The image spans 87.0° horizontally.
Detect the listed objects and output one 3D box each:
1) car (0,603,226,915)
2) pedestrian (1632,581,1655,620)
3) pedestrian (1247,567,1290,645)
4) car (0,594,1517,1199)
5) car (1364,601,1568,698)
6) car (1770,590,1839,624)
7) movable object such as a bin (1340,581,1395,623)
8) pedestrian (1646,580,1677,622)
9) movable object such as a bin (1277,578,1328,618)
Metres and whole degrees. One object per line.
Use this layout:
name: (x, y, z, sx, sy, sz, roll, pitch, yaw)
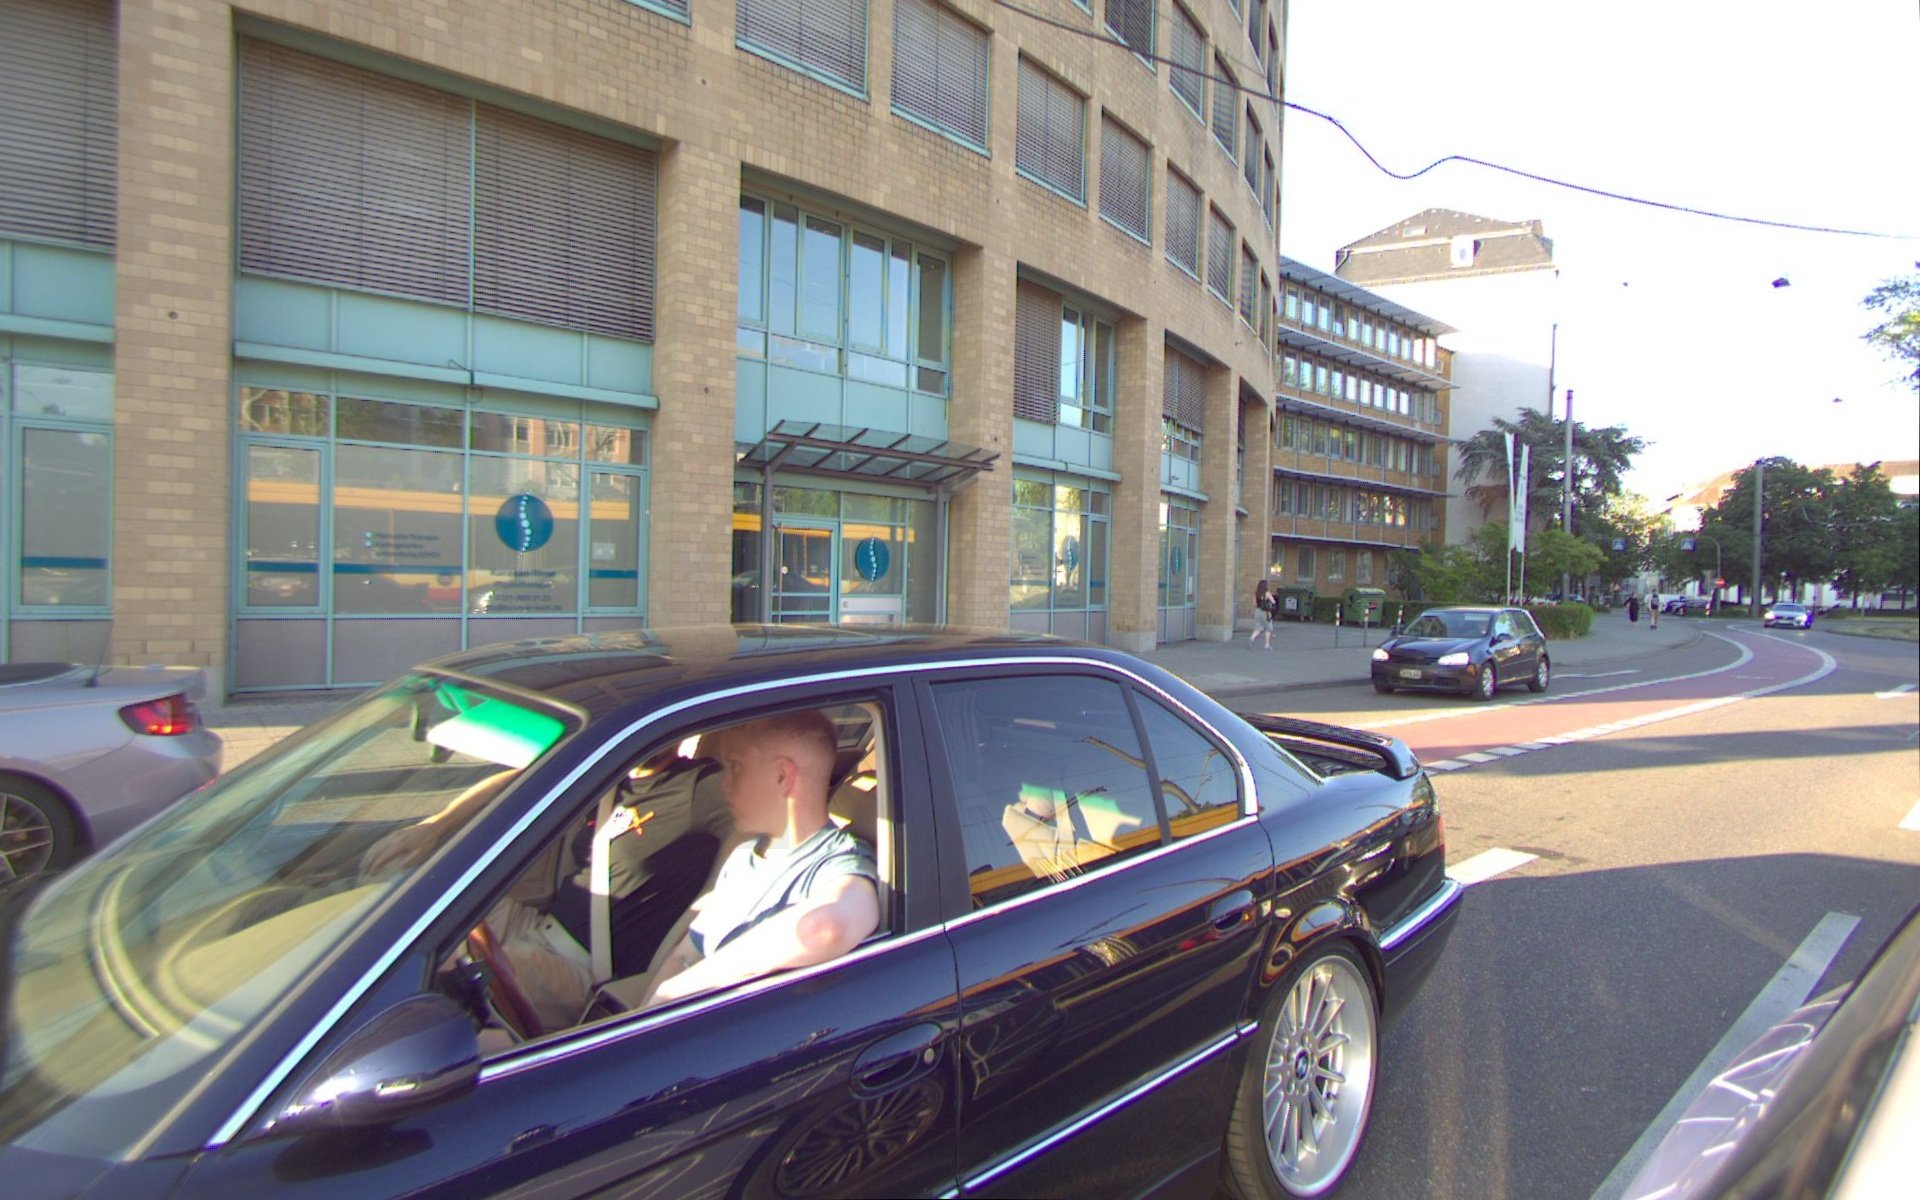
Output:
car: (-5.884, 0.730, 4.462, 4.154, 1.403, 1.746, 0, 0, -41)
pedestrian: (32.889, 0.006, 48.682, 0.711, 1.830, 0.728, 0, 1, -41)
pedestrian: (6.892, 0.133, 22.627, 0.702, 1.702, 0.626, 0, 1, -44)
car: (-0.714, 0.703, 2.317, 4.656, 1.402, 1.997, 0, 1, -41)
car: (8.500, 0.727, 16.874, 3.932, 1.404, 1.757, 0, 1, -42)
car: (46.994, 0.370, 56.307, 3.924, 1.771, 2.000, 0, 1, -36)
movable object such as a bin: (14.873, 0.062, 36.947, 1.311, 1.477, 1.424, 0, 1, -45)
pedestrian: (32.180, 0.045, 46.430, 1.106, 1.918, 0.910, 0, 1, -41)
movable object such as a bin: (13.378, -0.092, 39.513, 1.310, 1.477, 1.425, 0, 1, -43)
